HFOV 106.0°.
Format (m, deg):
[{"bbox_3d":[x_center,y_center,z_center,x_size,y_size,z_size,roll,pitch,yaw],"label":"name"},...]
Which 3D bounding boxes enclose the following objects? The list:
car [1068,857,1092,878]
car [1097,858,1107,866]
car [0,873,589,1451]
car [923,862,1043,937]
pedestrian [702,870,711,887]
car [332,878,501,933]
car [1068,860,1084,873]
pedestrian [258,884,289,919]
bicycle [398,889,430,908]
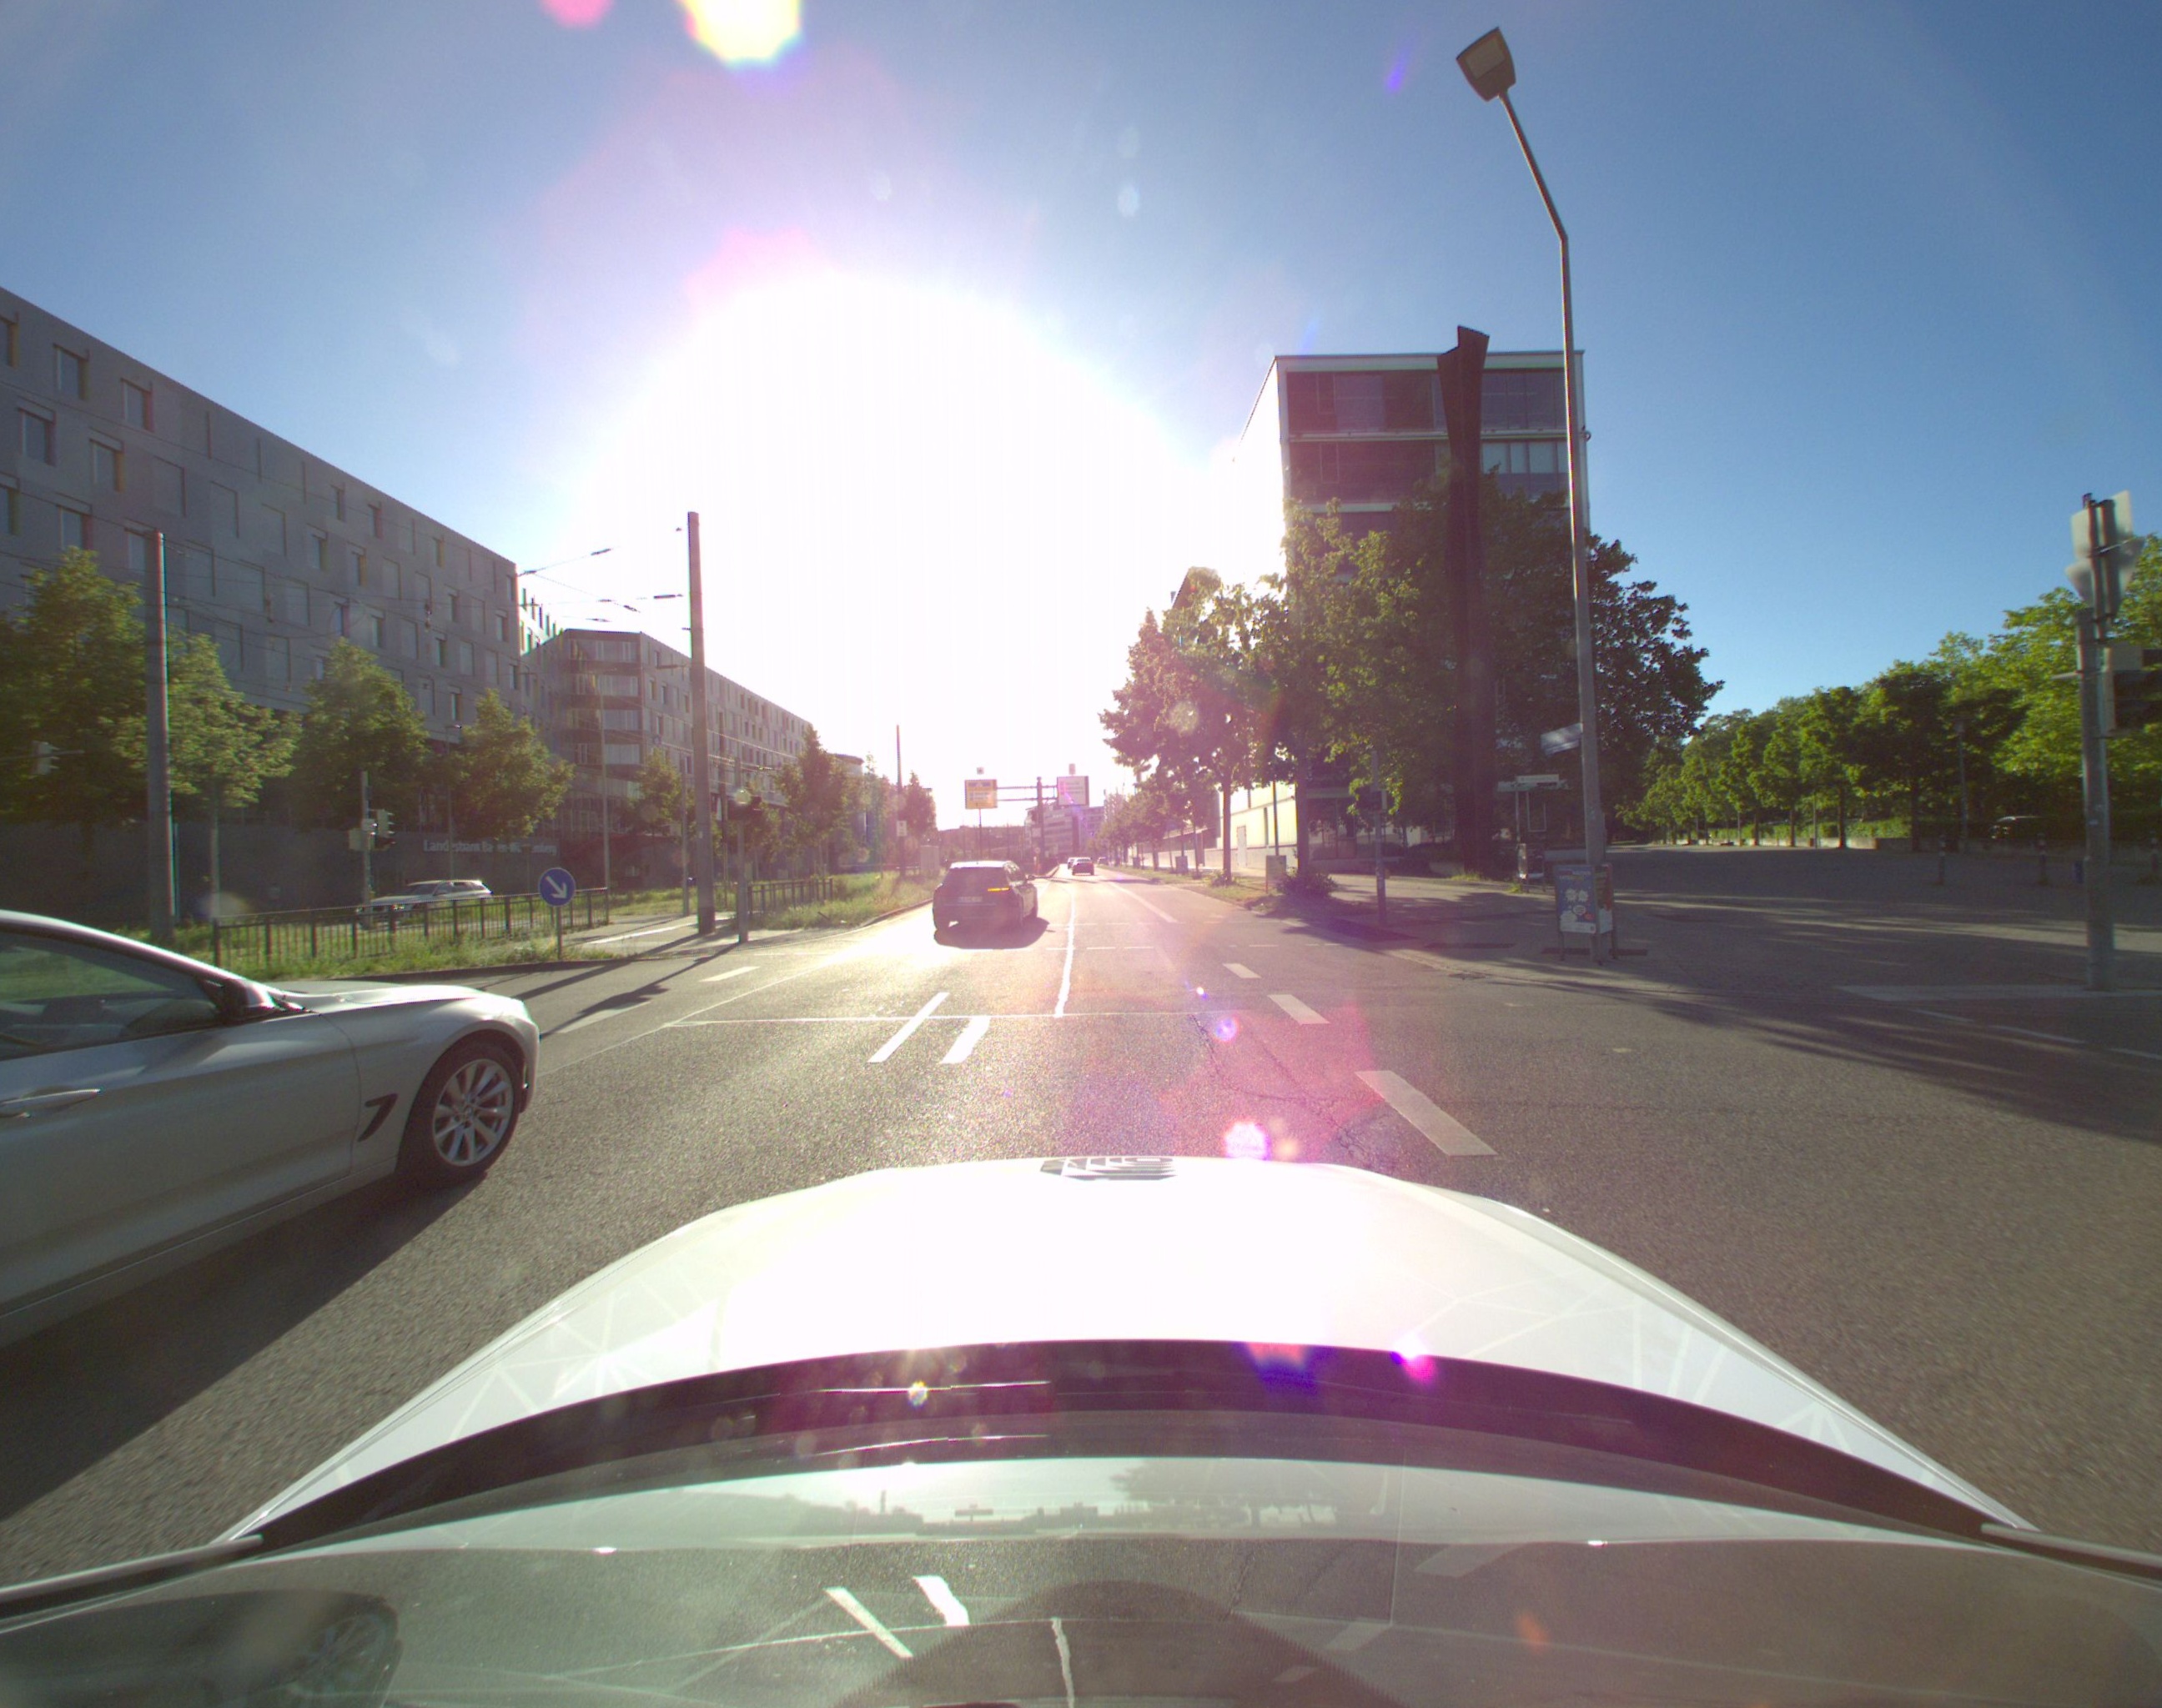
[{"bbox_3d":[-0.110,1.066,65.795,1.847,1.546,3.999,-1,0,-1],"label":"car"},{"bbox_3d":[4.383,1.668,169.465,1.848,1.481,4.850,-4,0,-2],"label":"car"},{"bbox_3d":[-3.849,0.873,2.399,1.793,1.527,4.910,0,0,0],"label":"car"},{"bbox_3d":[-2.082,0.936,18.682,1.804,1.427,4.694,-2,-1,4],"label":"car"},{"bbox_3d":[-45.762,3.032,99.496,0.734,2.014,0.689,-2,-1,-1],"label":"pedestrian"},{"bbox_3d":[-23.092,1.730,28.617,1.988,1.562,4.867,-2,0,-2],"label":"car"},{"bbox_3d":[-0.664,1.592,105.734,1.987,1.465,3.999,-1,0,0],"label":"car"},{"bbox_3d":[-43.899,2.595,44.271,0.719,1.822,0.871,-2,0,-1],"label":"pedestrian"},{"bbox_3d":[-44.492,2.948,54.357,0.518,1.172,1.974,-2,0,-1],"label":"bicycle"}]
